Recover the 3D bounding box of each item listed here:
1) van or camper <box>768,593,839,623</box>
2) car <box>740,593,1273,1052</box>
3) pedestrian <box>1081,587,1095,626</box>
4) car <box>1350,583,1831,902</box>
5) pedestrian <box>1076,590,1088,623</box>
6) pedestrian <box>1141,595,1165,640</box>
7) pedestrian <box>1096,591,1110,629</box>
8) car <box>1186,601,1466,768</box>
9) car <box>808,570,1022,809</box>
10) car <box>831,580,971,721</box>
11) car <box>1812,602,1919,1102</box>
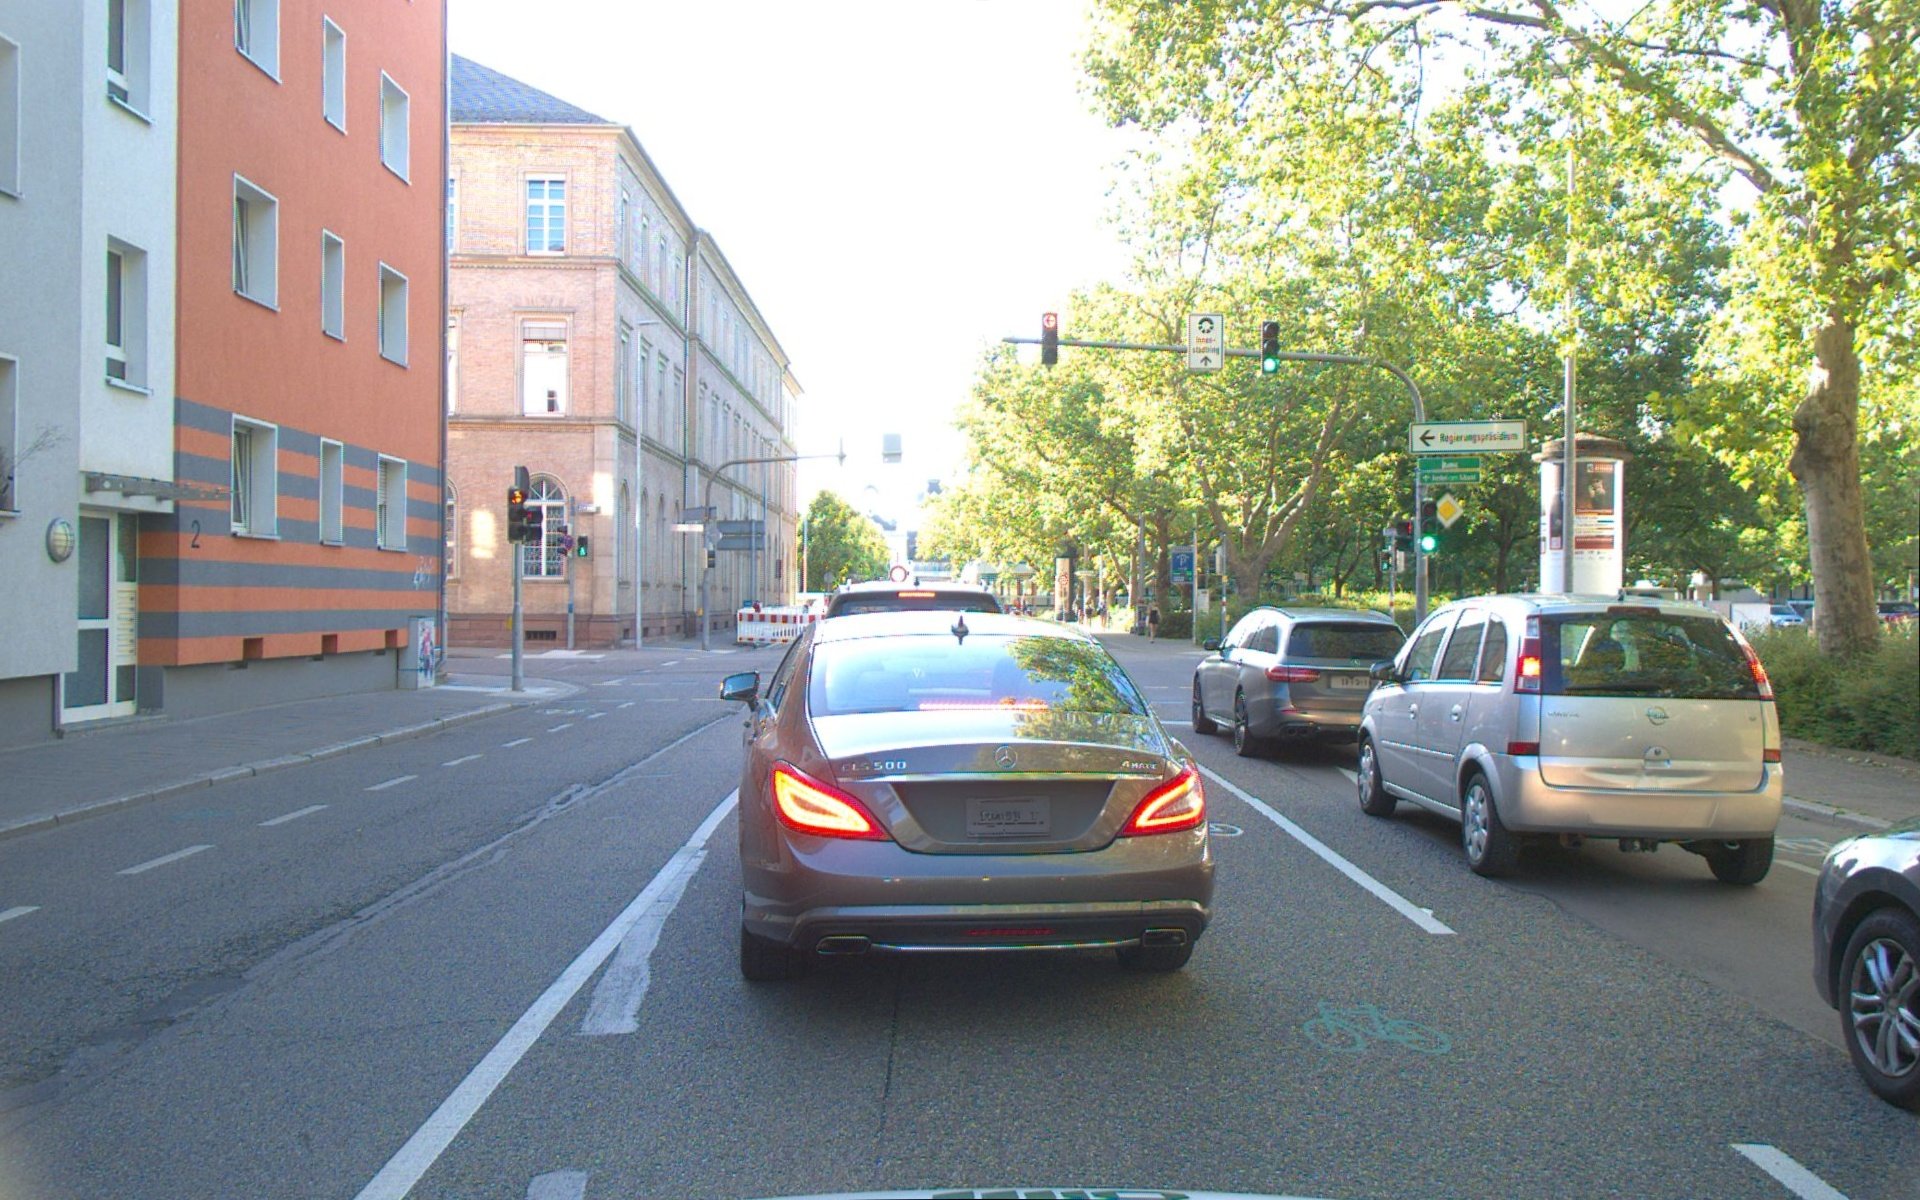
[{"bbox_3d":[-10.744,0.515,113.618,4.481,1.975,2.002,1,0,13],"label":"van or camper"},{"bbox_3d":[-0.110,0.722,7.639,1.769,1.482,4.343,1,0,-8],"label":"car"},{"bbox_3d":[6.194,0.322,80.146,0.591,1.853,0.651,1,0,-1],"label":"pedestrian"},{"bbox_3d":[3.808,0.751,10.733,1.666,1.631,3.860,2,0,1],"label":"car"},{"bbox_3d":[6.838,0.377,92.866,0.599,1.853,0.932,1,0,-1],"label":"pedestrian"},{"bbox_3d":[7.221,0.647,61.821,0.813,1.634,0.651,1,0,-1],"label":"pedestrian"},{"bbox_3d":[6.922,0.479,79.917,0.591,1.853,0.651,1,0,-1],"label":"pedestrian"},{"bbox_3d":[3.718,0.789,17.674,1.874,1.490,4.668,1,0,-1],"label":"car"},{"bbox_3d":[-0.410,0.631,13.655,1.487,1.675,3.878,1,0,-3],"label":"car"},{"bbox_3d":[-0.781,0.645,23.215,1.783,1.793,3.999,0,0,-1],"label":"car"},{"bbox_3d":[3.751,0.795,3.655,1.611,1.508,3.975,2,0,-1],"label":"car"}]
